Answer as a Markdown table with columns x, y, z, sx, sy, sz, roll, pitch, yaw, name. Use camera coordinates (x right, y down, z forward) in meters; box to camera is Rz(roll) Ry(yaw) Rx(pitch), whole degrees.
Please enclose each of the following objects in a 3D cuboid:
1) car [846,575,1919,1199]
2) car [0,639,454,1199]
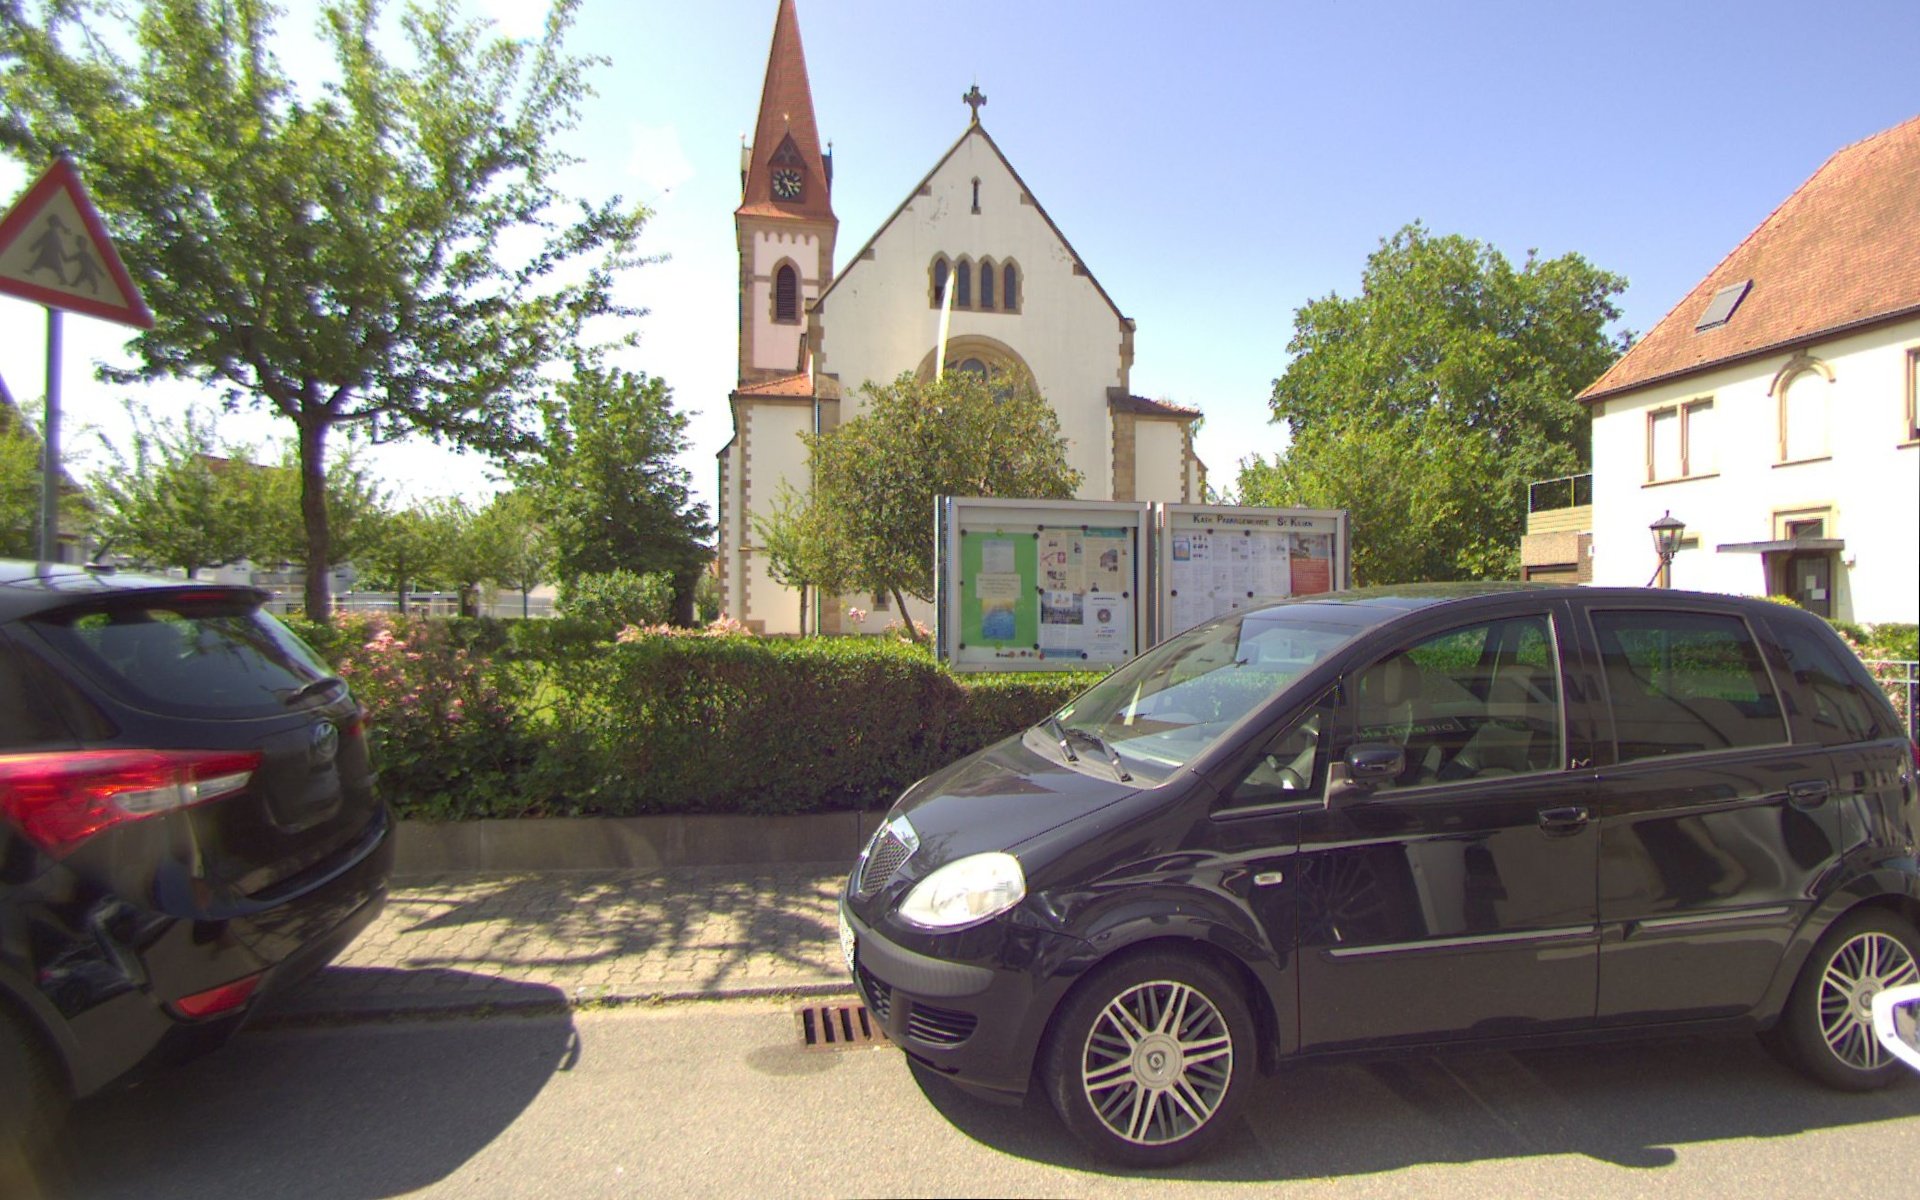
| x | y | z | sx | sy | sz | roll | pitch | yaw | name |
| --- | --- | --- | --- | --- | --- | --- | --- | --- | --- |
| 1.506 | 0.778 | 3.698 | 3.701 | 1.650 | 1.640 | 0 | -1 | -12 | car |
| -3.925 | 0.953 | 2.972 | 3.951 | 1.626 | 1.818 | 0 | -1 | -10 | car |
